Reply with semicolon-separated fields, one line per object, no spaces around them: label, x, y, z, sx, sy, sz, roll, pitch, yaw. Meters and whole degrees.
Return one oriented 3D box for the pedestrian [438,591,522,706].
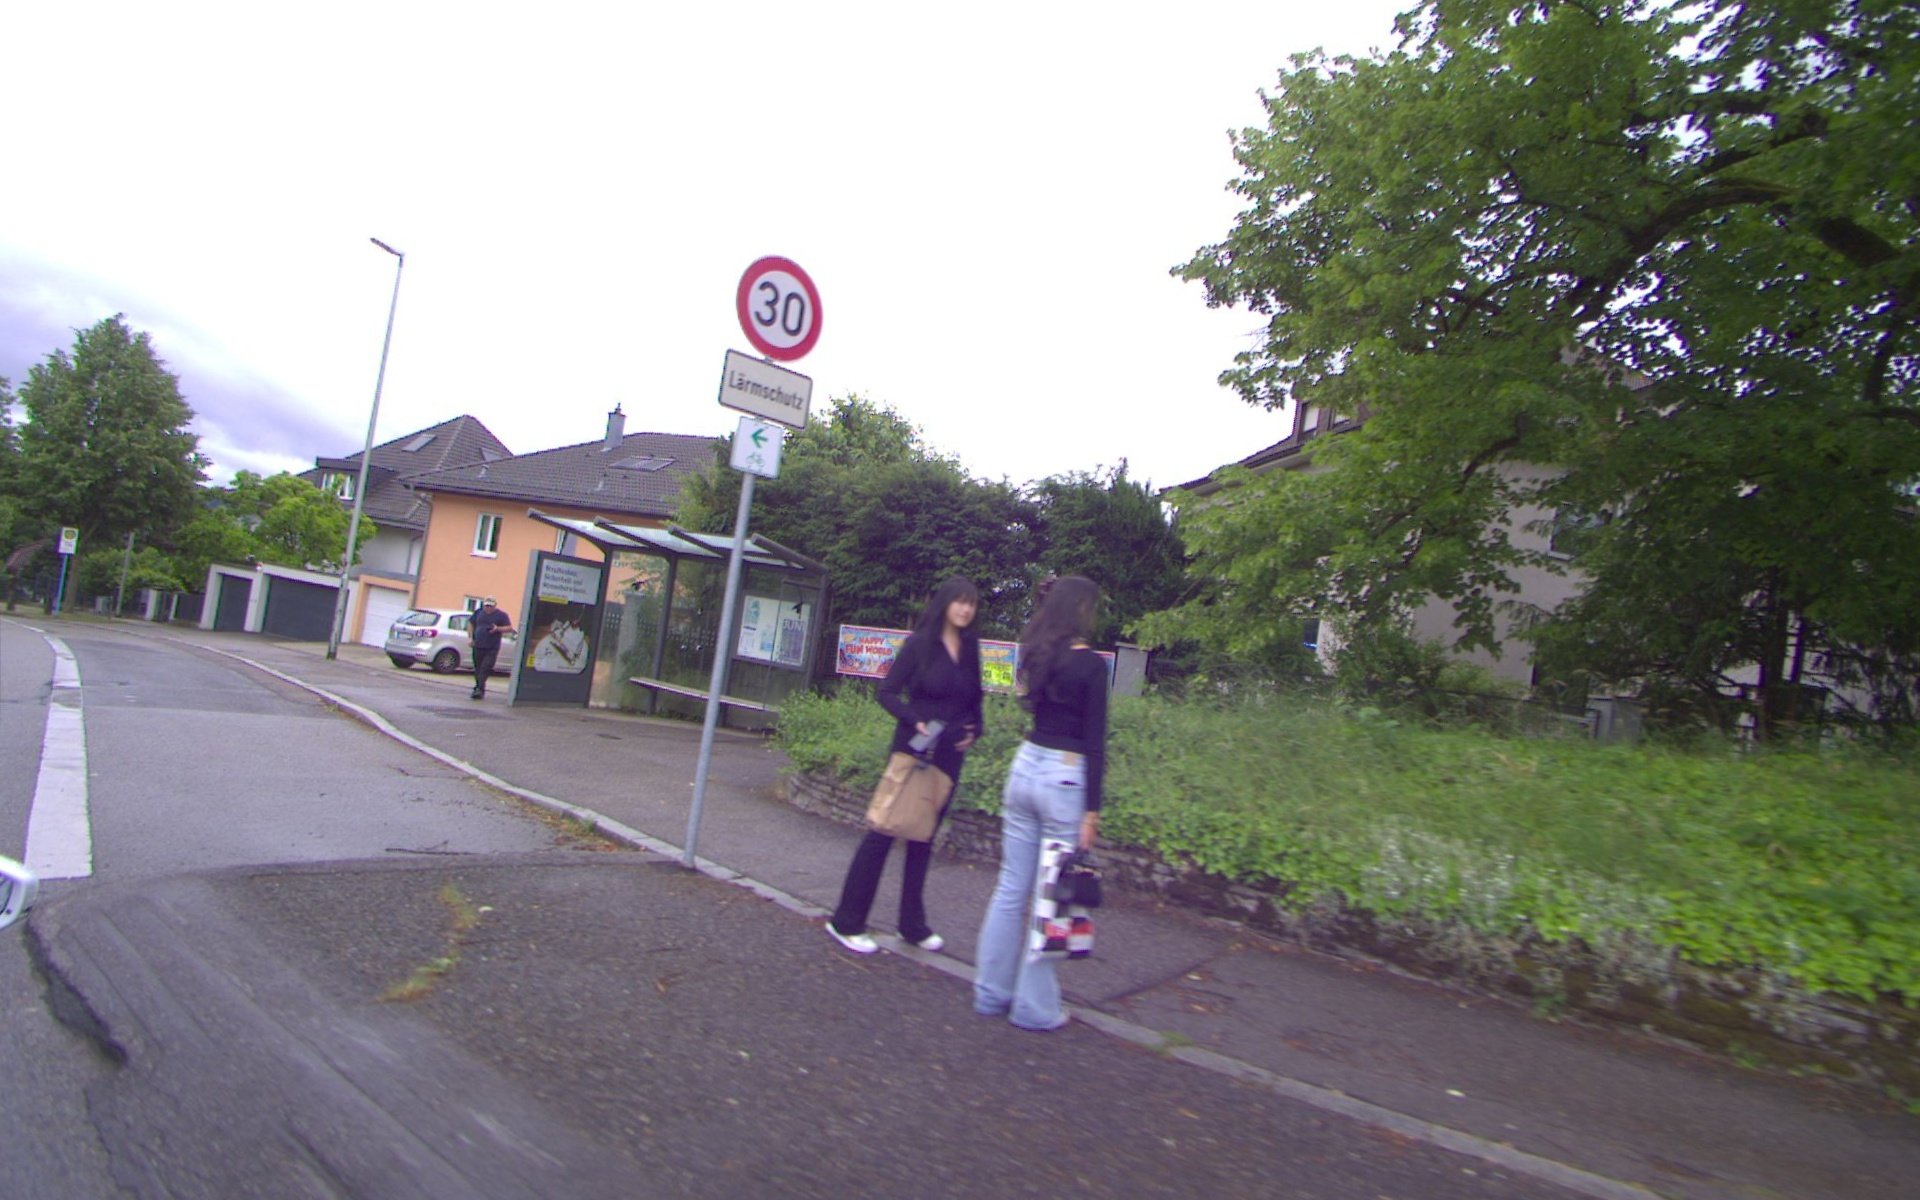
pedestrian;-7.684;0.773;16.157;0.999;1.715;0.953;6;-2;-21

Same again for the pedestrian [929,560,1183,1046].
pedestrian;0.365;0.766;3.944;0.627;1.731;0.528;8;-3;-20

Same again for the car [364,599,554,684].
car;-12.763;1.122;25.888;1.868;1.649;3.906;6;-4;25

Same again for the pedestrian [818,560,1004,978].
pedestrian;-0.199;0.743;4.660;0.519;1.731;0.637;7;-3;10
